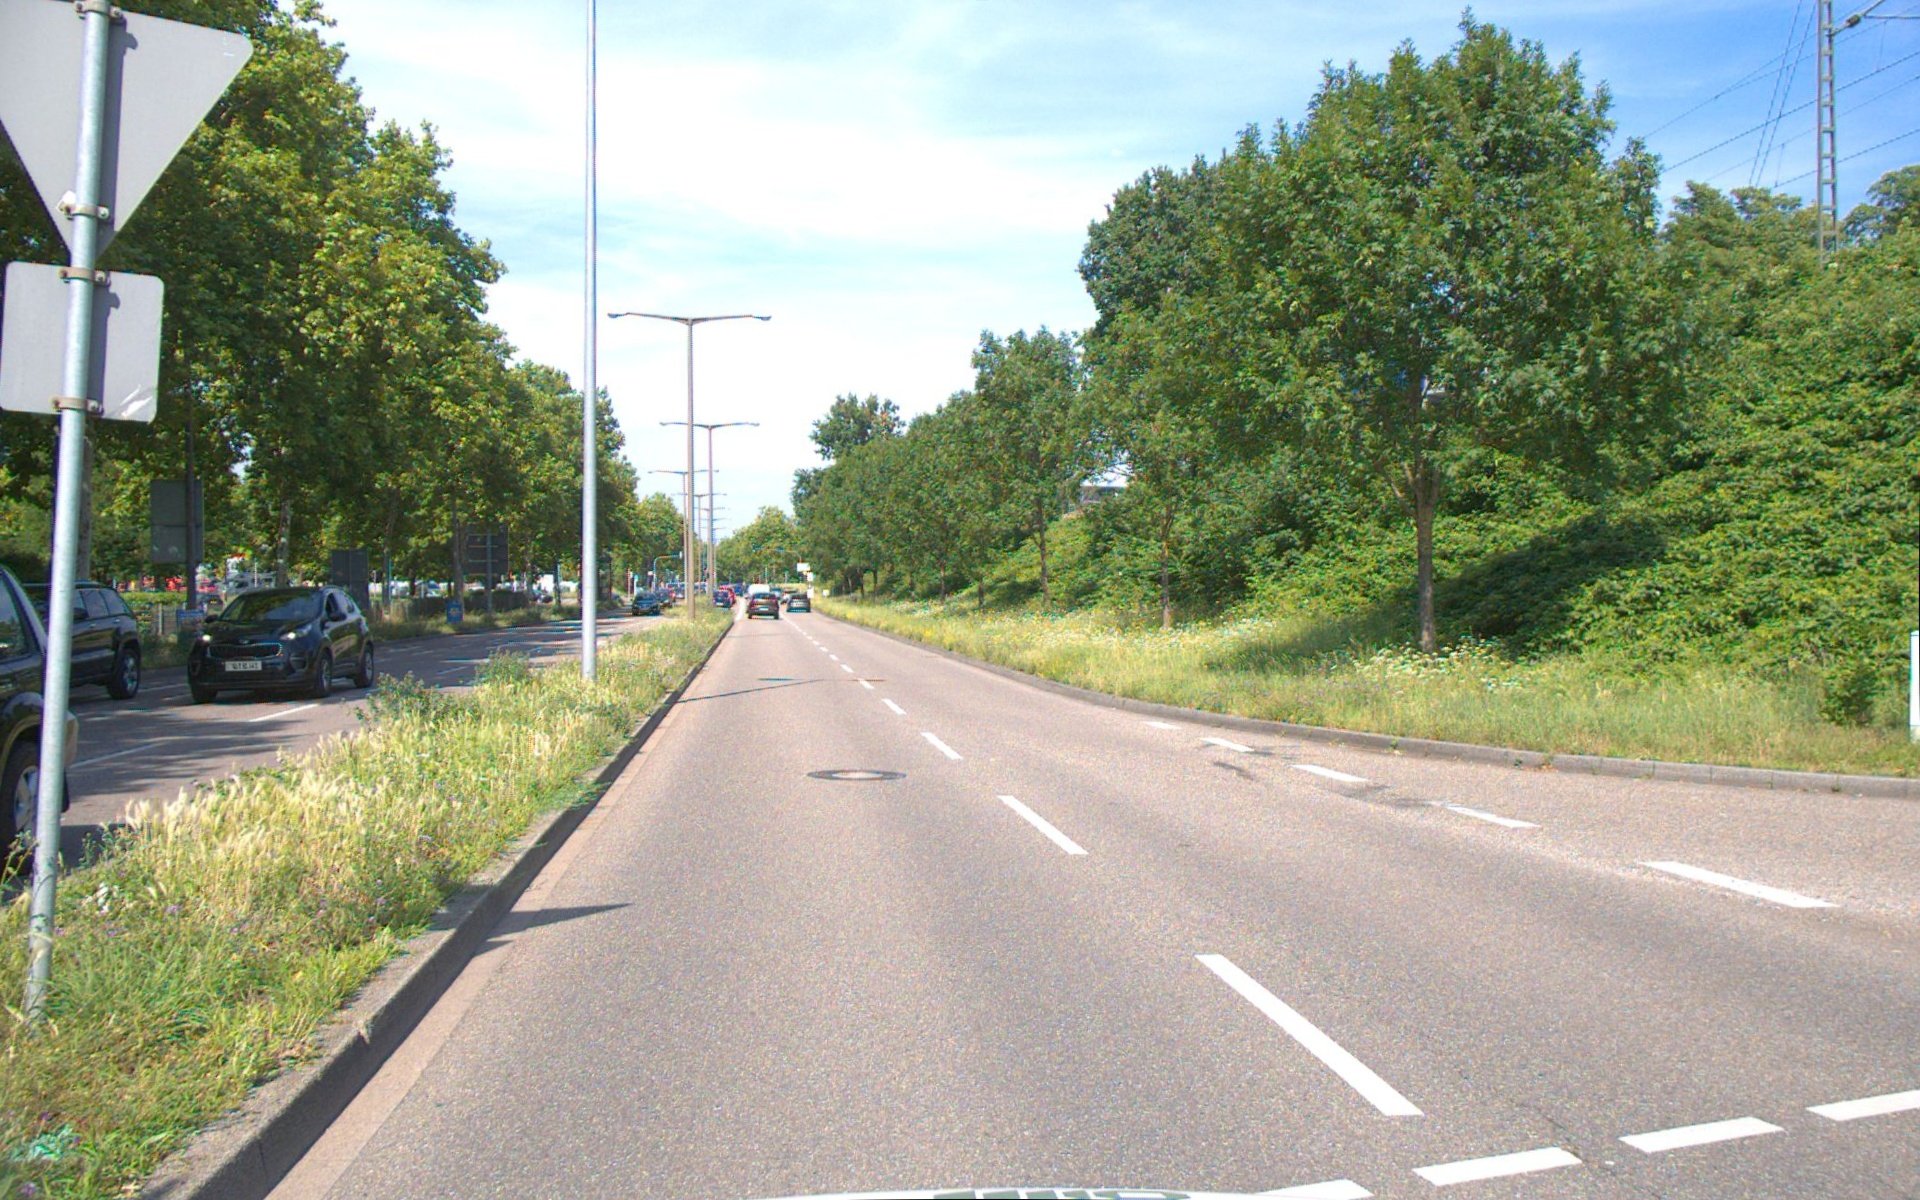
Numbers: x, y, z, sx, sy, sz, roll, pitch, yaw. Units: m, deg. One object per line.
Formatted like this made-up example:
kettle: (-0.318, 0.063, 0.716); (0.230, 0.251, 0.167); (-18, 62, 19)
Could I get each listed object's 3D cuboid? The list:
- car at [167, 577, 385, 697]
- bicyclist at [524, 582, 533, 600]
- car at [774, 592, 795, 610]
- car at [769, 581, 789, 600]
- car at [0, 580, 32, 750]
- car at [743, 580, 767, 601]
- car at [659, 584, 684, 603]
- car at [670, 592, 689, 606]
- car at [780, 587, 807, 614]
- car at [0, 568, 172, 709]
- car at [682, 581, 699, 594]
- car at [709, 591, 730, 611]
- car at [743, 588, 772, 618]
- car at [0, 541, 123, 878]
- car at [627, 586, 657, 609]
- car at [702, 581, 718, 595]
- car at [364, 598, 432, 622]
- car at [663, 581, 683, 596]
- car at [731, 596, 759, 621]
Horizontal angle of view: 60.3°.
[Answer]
car: (-10.368, 0.483, 25.438); (1.956, 1.639, 4.488); (-1, 1, -7)
bicyclist: (-37.803, -0.798, 144.866); (0.668, 1.511, 0.940); (-1, 0, -7)
car: (-17.130, 0.069, 161.294); (1.956, 1.738, 4.256); (0, 0, -7)
car: (-20.415, -1.082, 186.534); (1.958, 2.049, 3.989); (0, 0, -11)
car: (-9.123, 0.614, 12.718); (1.801, 1.488, 4.510); (-2, 1, -7)
car: (-17.068, -0.766, 137.879); (1.956, 1.738, 4.257); (0, 0, -7)
car: (-23.635, -0.533, 135.614); (1.739, 1.493, 4.664); (-1, 0, -7)
car: (-30.348, -0.125, 178.961); (1.805, 1.504, 4.159); (-1, 0, -8)
car: (-12.873, 0.042, 127.452); (1.980, 1.869, 3.995); (0, 3, -7)
car: (-13.481, 0.499, 24.386); (1.956, 1.867, 4.644); (-1, 1, -7)
car: (-38.095, -1.786, 233.741); (1.955, 1.806, 3.996); (-1, 0, -5)
car: (-18.700, 0.071, 128.716); (1.596, 1.509, 4.041); (2, 0, -8)
car: (-12.123, 0.151, 99.158); (1.703, 1.562, 3.995); (0, 3, -7)
car: (-5.475, 0.551, 7.344); (1.774, 1.643, 4.482); (-1, 1, -8)
car: (-21.830, -0.180, 113.571); (1.793, 1.493, 4.978); (-1, 0, -9)
car: (-34.204, -1.640, 226.293); (1.955, 1.892, 3.995); (0, 0, -6)
car: (-37.019, 0.649, 109.075); (3.911, 1.490, 1.770); (-1, 0, -7)
car: (-29.398, -1.211, 169.580); (1.730, 1.488, 3.994); (-1, 0, -7)
car: (-15.537, 0.605, 119.349); (1.956, 1.713, 3.993); (0, 1, -8)
